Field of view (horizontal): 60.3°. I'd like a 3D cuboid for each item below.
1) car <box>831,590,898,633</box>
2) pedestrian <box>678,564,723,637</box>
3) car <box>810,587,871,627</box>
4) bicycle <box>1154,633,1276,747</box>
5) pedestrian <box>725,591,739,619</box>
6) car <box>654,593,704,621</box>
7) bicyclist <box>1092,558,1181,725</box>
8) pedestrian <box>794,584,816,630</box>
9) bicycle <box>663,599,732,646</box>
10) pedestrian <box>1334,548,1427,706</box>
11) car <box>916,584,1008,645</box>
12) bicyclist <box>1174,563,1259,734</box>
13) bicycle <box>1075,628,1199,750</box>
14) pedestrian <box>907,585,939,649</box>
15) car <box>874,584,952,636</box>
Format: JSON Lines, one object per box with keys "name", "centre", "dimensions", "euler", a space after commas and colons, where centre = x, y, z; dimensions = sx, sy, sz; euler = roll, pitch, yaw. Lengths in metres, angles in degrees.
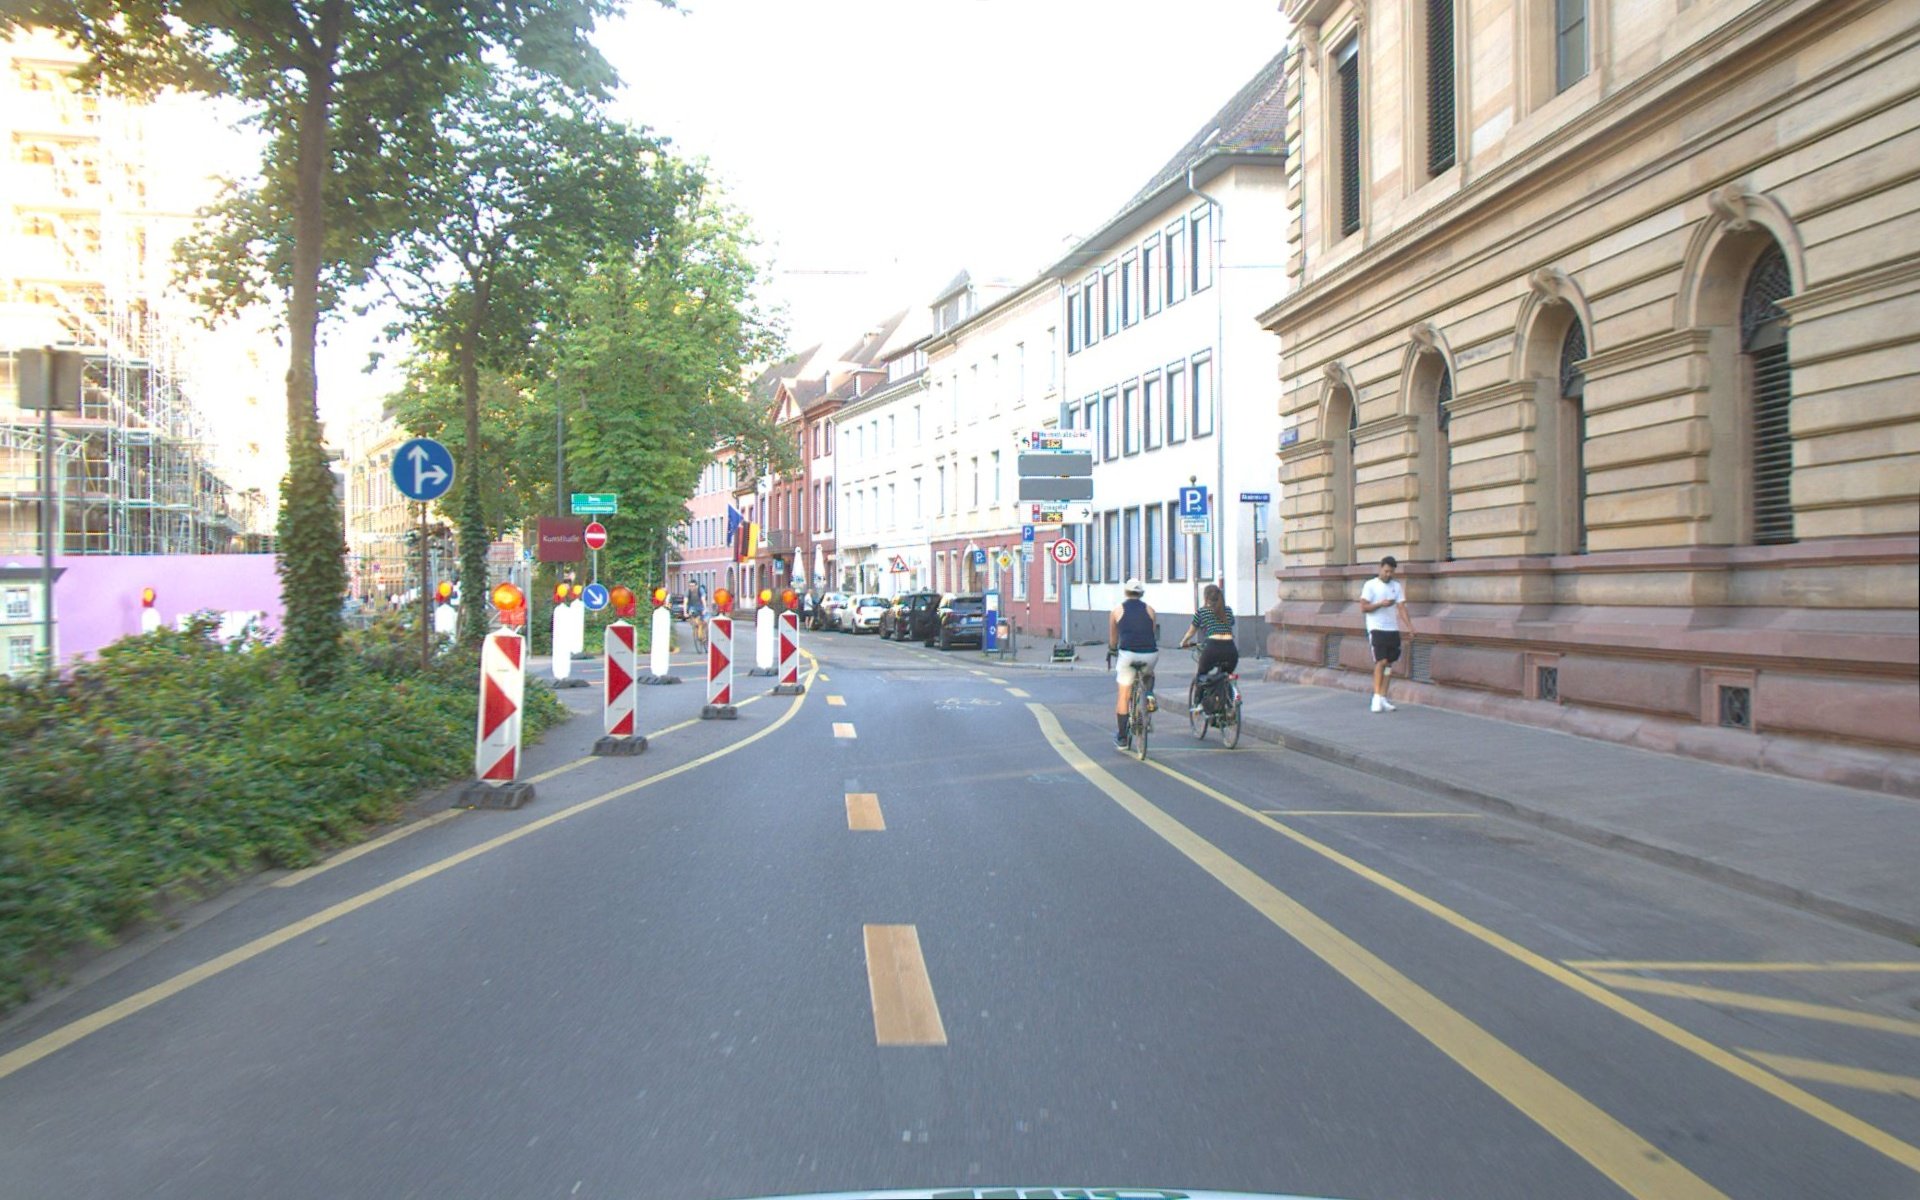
{"name": "car", "centre": [-3.752, 0.420, 64.427], "dimensions": [1.783, 1.587, 3.847], "euler": [0, 0, -16]}
{"name": "pedestrian", "centre": [-6.144, 0.008, 39.167], "dimensions": [0.719, 1.703, 0.896], "euler": [0, 0, 18]}
{"name": "car", "centre": [-4.976, 0.261, 68.543], "dimensions": [1.783, 1.587, 3.847], "euler": [0, 0, -16]}
{"name": "bicycle", "centre": [2.733, 0.941, 17.995], "dimensions": [0.641, 1.089, 2.253], "euler": [2, 0, -9]}
{"name": "pedestrian", "centre": [-14.297, 0.316, 103.640], "dimensions": [0.738, 1.793, 0.582], "euler": [0, 0, -19]}
{"name": "car", "centre": [-15.889, 0.377, 93.344], "dimensions": [1.790, 1.587, 3.832], "euler": [0, 0, -26]}
{"name": "bicyclist", "centre": [1.729, 0.402, 16.279], "dimensions": [0.657, 1.593, 0.696], "euler": [2, 0, -11]}
{"name": "pedestrian", "centre": [-6.434, 0.277, 68.689], "dimensions": [0.814, 1.876, 0.958], "euler": [1, 1, 0]}
{"name": "bicycle", "centre": [-6.186, 0.522, 39.052], "dimensions": [0.744, 1.055, 2.122], "euler": [0, 0, 17]}
{"name": "pedestrian", "centre": [4.947, 0.302, 19.508], "dimensions": [0.800, 1.796, 1.038], "euler": [1, 1, 0]}
{"name": "car", "centre": [0.008, 0.401, 48.491], "dimensions": [1.782, 1.712, 3.904], "euler": [0, 0, -15]}
{"name": "bicyclist", "centre": [2.760, 0.510, 17.857], "dimensions": [0.637, 1.791, 0.862], "euler": [2, 0, -9]}
{"name": "bicycle", "centre": [1.711, 0.848, 16.298], "dimensions": [0.658, 1.089, 1.896], "euler": [1, 0, -12]}
{"name": "pedestrian", "centre": [-1.119, 0.489, 49.416], "dimensions": [0.883, 1.898, 0.931], "euler": [0, 0, -7]}
{"name": "car", "centre": [-1.646, 0.316, 56.574], "dimensions": [1.782, 1.713, 3.984], "euler": [0, 0, -15]}
